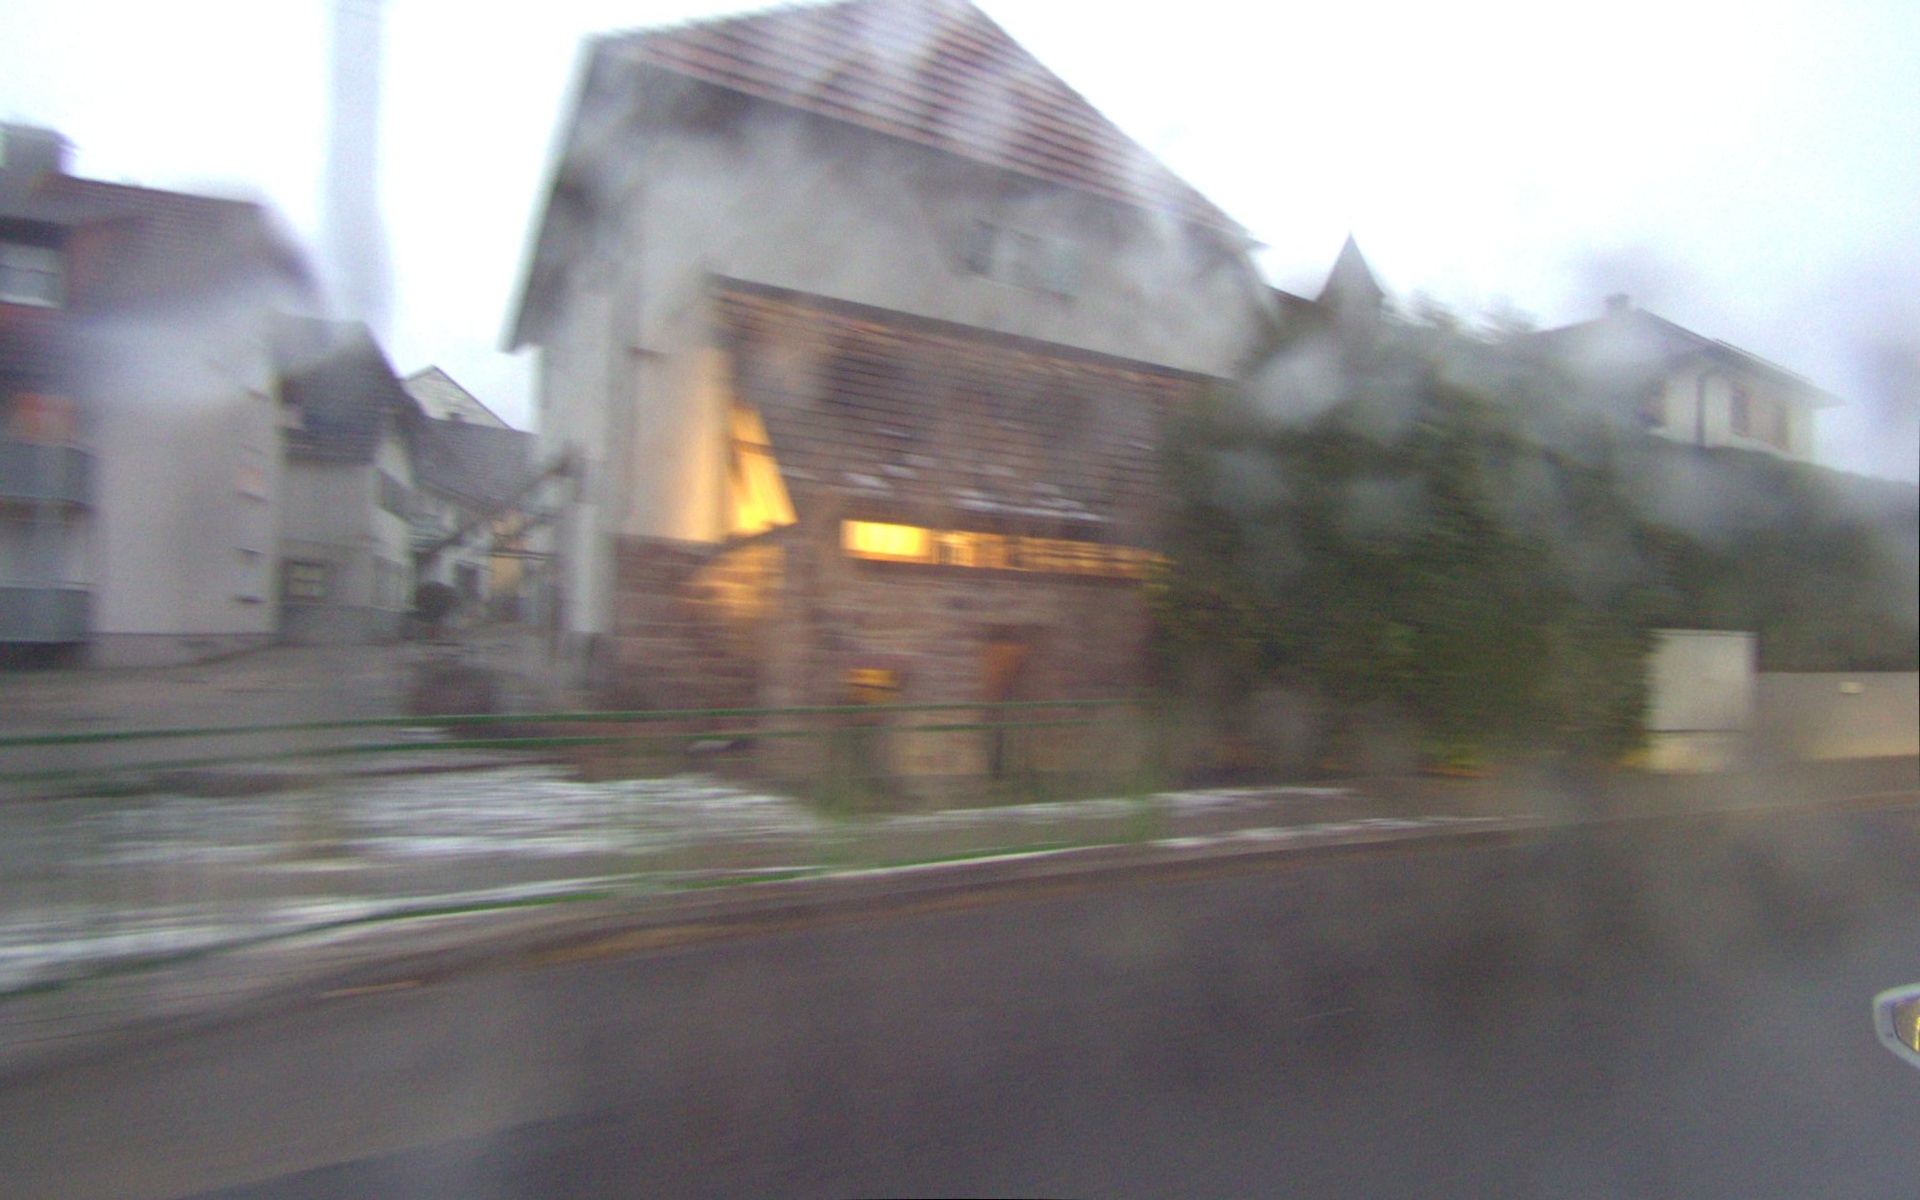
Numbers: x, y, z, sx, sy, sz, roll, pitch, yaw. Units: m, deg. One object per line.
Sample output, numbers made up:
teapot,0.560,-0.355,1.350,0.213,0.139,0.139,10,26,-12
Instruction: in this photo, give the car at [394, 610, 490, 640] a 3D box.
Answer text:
car,-19.261,0.935,37.464,2.988,1.012,1.420,2,1,-19
